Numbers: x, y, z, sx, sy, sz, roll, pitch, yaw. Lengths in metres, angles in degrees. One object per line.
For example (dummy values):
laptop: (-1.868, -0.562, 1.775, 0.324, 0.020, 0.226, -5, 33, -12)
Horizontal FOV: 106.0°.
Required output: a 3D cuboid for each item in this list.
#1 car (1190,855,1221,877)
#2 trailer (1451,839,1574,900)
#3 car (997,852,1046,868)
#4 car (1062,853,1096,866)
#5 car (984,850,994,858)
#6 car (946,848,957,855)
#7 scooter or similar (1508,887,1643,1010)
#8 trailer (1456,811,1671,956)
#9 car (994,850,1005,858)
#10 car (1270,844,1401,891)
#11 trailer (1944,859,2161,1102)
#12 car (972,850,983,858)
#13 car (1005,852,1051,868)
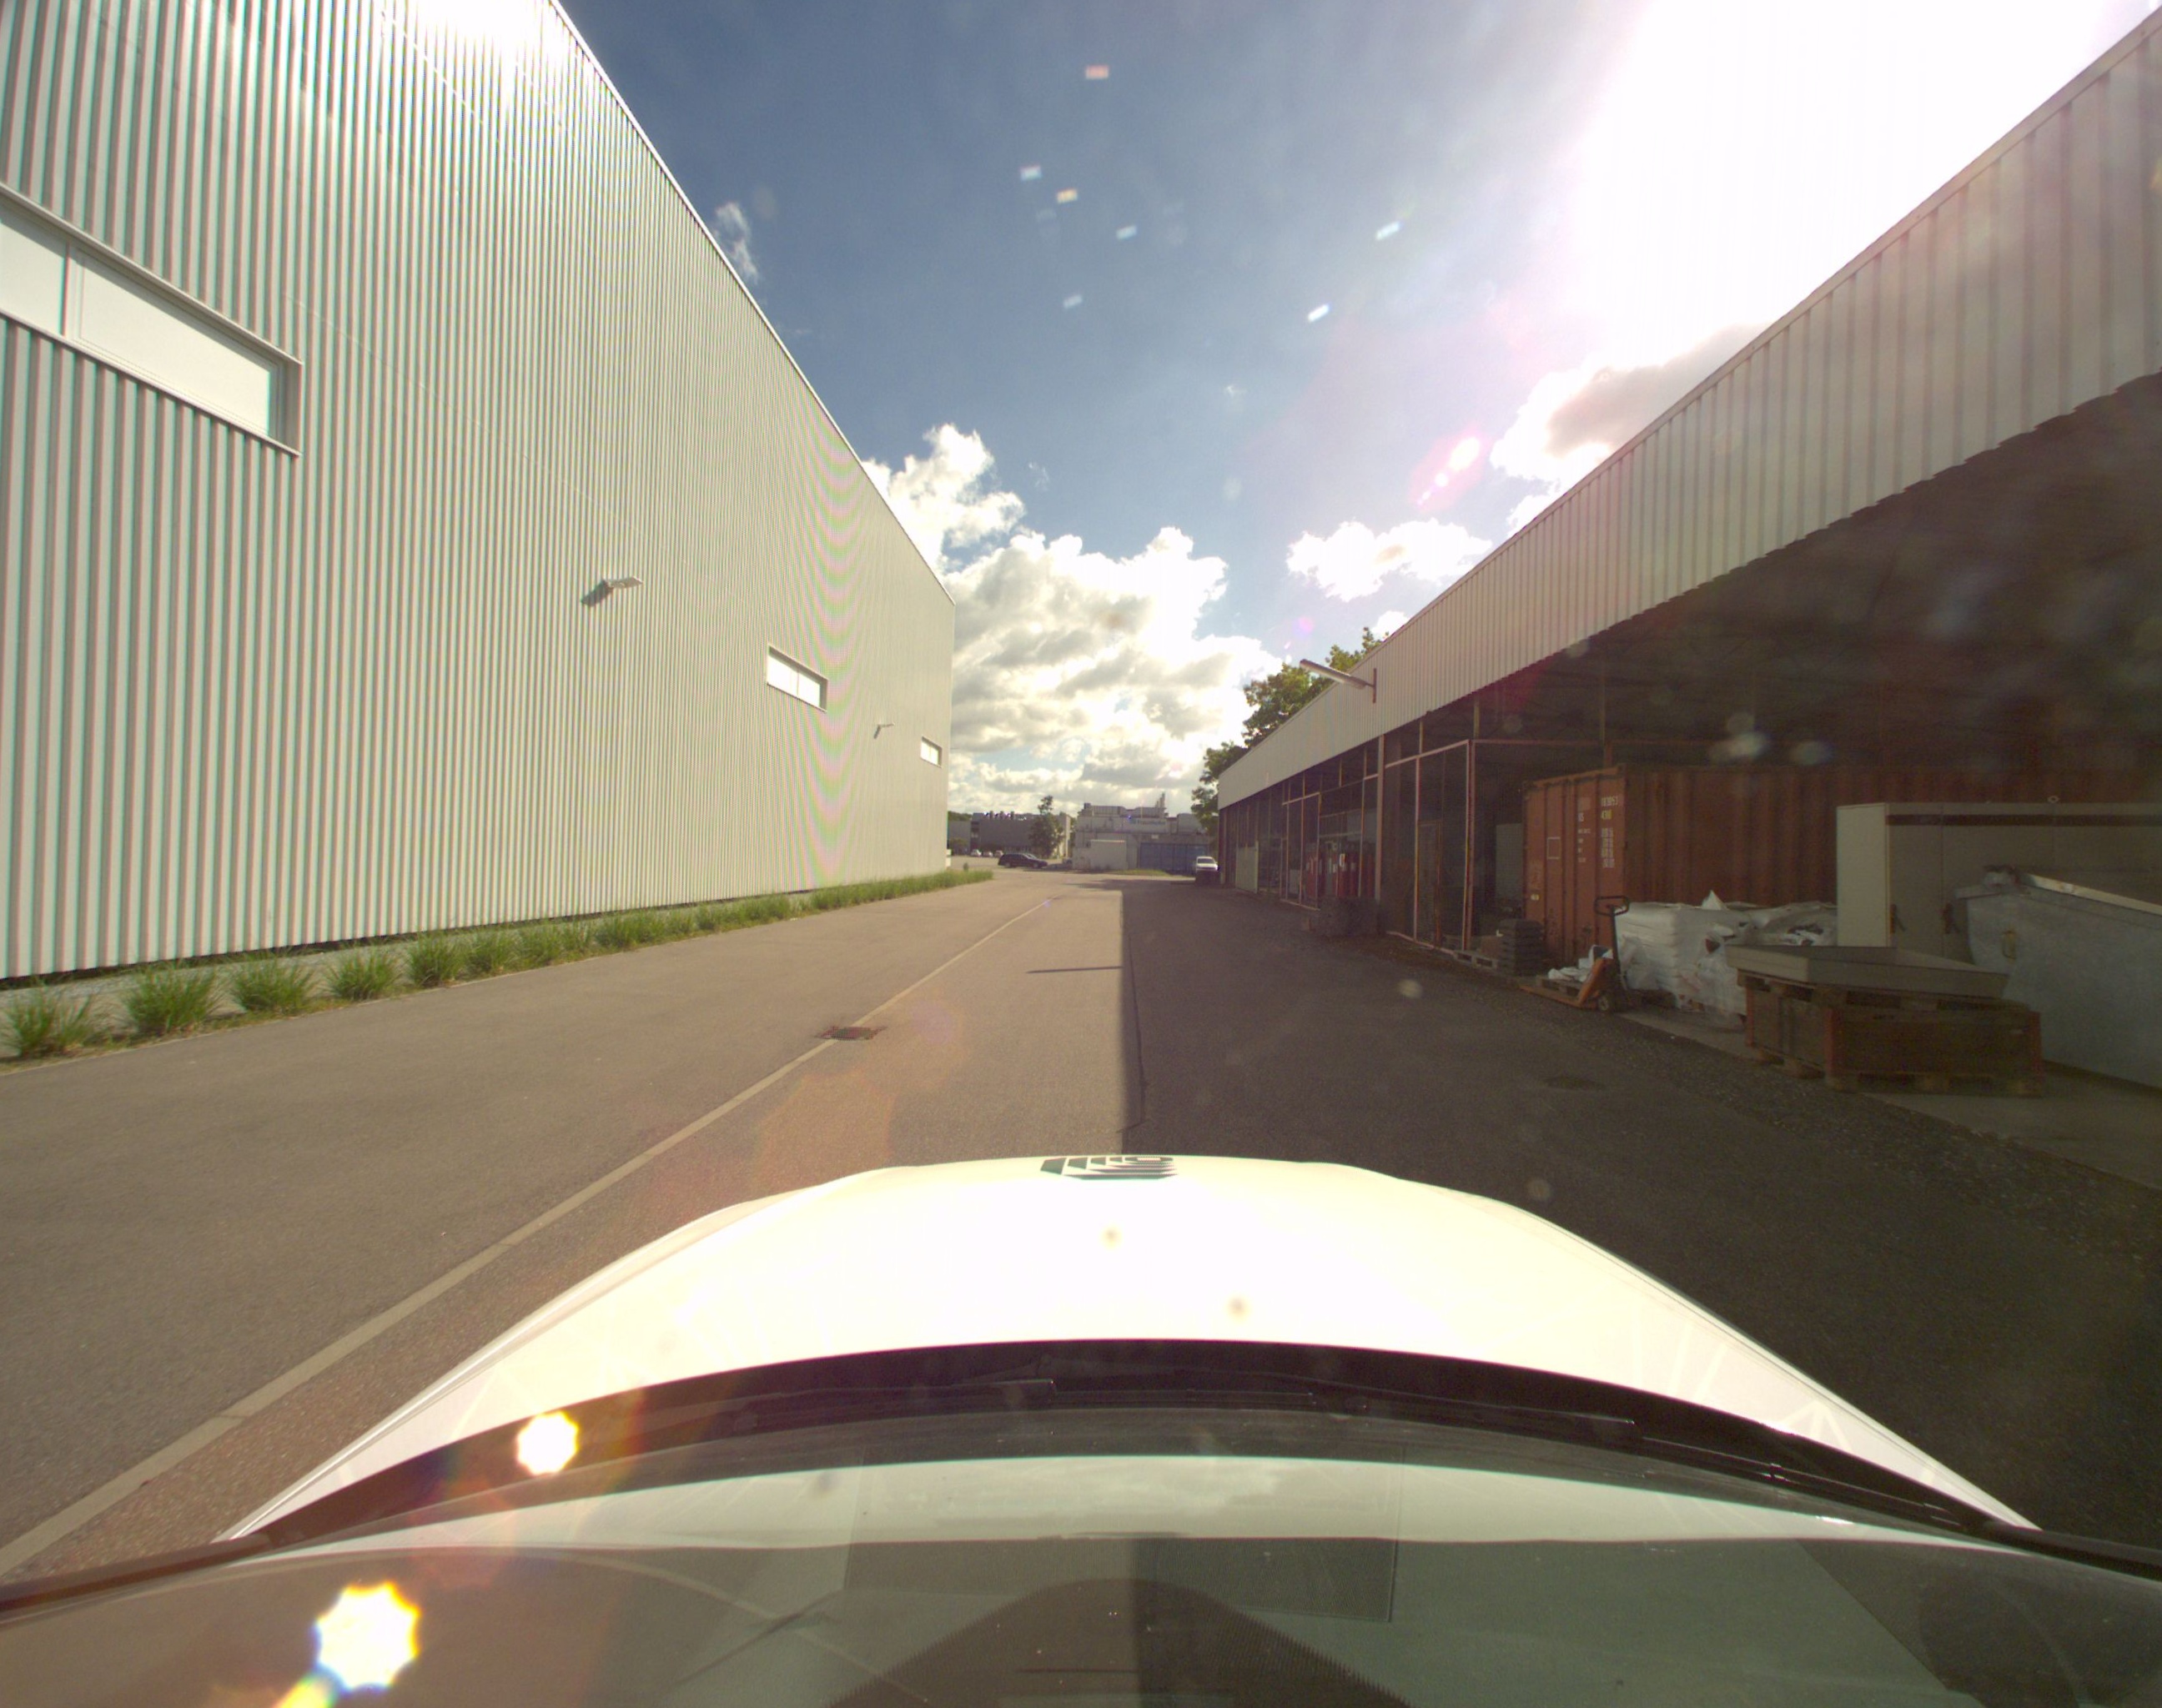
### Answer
car: (10.216, 0.986, 67.179, 1.973, 1.593, 4.343, 2, 1, 2)
trailer: (16.022, 0.546, 30.442, 3.388, 2.138, 2.467, 1, 0, 4)
car: (-5.820, 0.604, 80.307, 4.511, 1.443, 1.988, 1, -2, 2)
car: (-0.258, 0.736, 107.905, 4.262, 1.569, 1.988, 1, -2, 2)
car: (-20.072, 0.026, 177.678, 1.871, 1.537, 4.035, 0, 0, 0)
car: (-28.177, -0.517, 177.847, 1.873, 1.537, 4.032, 0, 0, -2)
scooter or similar: (5.181, 0.945, 8.642, 0.518, 1.134, 1.593, 1, -1, 2)
trailer: (7.982, 0.448, 13.870, 1.572, 2.143, 3.521, 0, -1, 0)
car: (-17.744, 0.026, 177.825, 1.871, 1.537, 4.035, 0, 0, 0)
car: (11.367, 0.622, 36.645, 5.153, 1.918, 2.276, 2, -1, -3)
trailer: (7.624, 0.788, 5.383, 2.084, 1.462, 1.644, 1, -1, 5)
car: (-22.621, -0.046, 177.911, 1.871, 1.689, 4.035, 0, 0, 0)
car: (-5.434, 0.616, 83.557, 4.511, 1.443, 1.905, 1, -2, 2)
